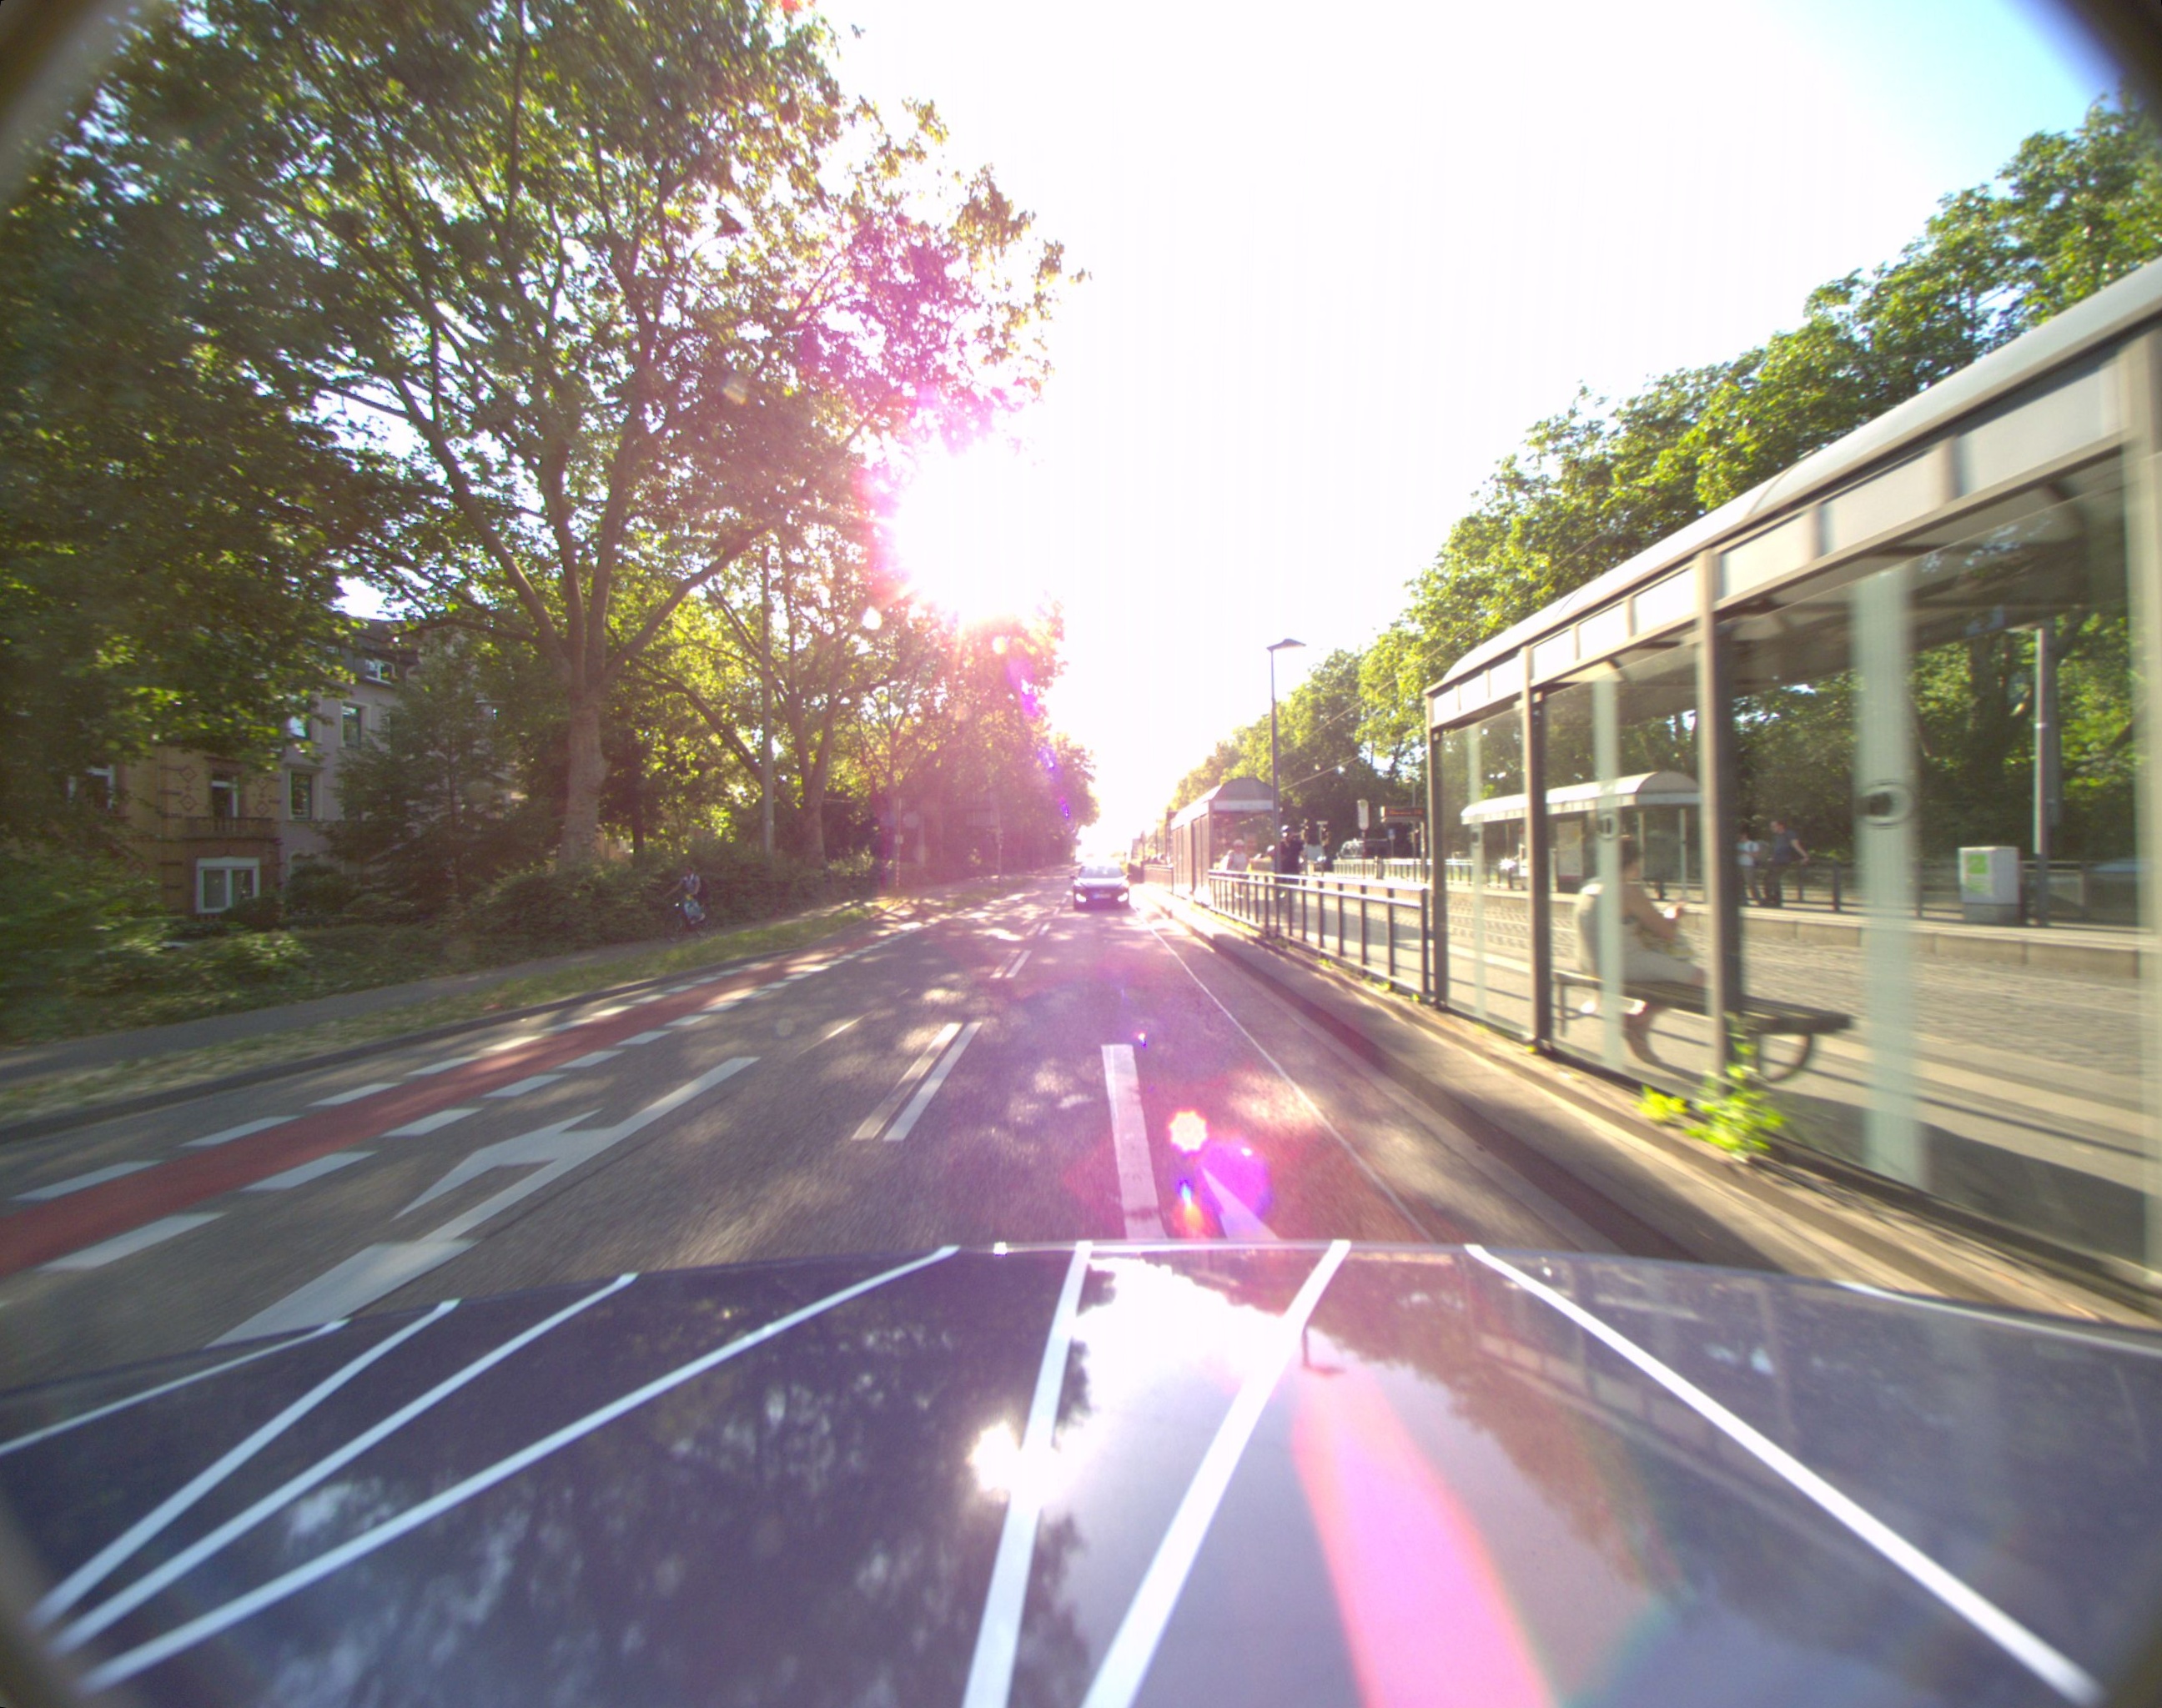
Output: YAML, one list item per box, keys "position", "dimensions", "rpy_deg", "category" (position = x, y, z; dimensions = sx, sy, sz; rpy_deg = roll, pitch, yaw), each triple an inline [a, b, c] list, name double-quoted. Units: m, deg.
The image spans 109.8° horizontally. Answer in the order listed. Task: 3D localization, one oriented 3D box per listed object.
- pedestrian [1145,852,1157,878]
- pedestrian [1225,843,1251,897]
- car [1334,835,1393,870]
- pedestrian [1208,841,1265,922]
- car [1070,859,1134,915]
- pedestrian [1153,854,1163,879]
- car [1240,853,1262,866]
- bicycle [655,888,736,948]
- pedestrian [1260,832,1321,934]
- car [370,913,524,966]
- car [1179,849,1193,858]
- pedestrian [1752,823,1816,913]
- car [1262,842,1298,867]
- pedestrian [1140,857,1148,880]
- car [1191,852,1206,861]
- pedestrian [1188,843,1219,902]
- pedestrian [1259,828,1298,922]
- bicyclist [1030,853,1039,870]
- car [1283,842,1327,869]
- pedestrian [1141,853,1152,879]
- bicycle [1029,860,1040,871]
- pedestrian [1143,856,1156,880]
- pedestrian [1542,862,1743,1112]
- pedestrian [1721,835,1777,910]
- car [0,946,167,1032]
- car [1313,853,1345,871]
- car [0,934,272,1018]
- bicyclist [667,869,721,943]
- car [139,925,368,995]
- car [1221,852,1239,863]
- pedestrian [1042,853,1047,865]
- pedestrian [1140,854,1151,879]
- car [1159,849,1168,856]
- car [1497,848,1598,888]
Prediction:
- position: [4.287, 0.689, 46.721]
  dimensions: [0.520, 1.559, 0.509]
  rpy_deg: [1, 1, 31]
  category: "pedestrian"
- position: [4.683, 0.466, 22.629]
  dimensions: [0.589, 1.558, 0.650]
  rpy_deg: [-3, 1, 1]
  category: "pedestrian"
- position: [21.451, -0.122, 57.953]
  dimensions: [2.189, 2.506, 6.031]
  rpy_deg: [0, 1, -1]
  category: "car"
- position: [3.274, 0.574, 15.976]
  dimensions: [0.800, 1.624, 0.868]
  rpy_deg: [-3, 0, 39]
  category: "pedestrian"
- position: [0.637, 0.972, 23.986]
  dimensions: [1.799, 1.501, 4.000]
  rpy_deg: [-2, 0, 1]
  category: "car"
- position: [4.674, 0.760, 45.982]
  dimensions: [0.521, 1.464, 0.514]
  rpy_deg: [1, 1, 2]
  category: "pedestrian"
- position: [21.038, 0.711, 94.222]
  dimensions: [1.743, 1.546, 3.881]
  rpy_deg: [0, 1, -1]
  category: "car"
- position: [-8.125, 1.317, 16.108]
  dimensions: [0.768, 1.101, 1.800]
  rpy_deg: [-1, 0, 1]
  category: "bicycle"
- position: [3.680, 0.487, 13.333]
  dimensions: [0.654, 1.712, 0.708]
  rpy_deg: [-3, 1, -35]
  category: "pedestrian"
- position: [-22.460, 2.993, 27.137]
  dimensions: [4.007, 1.501, 1.796]
  rpy_deg: [0, -1, -31]
  category: "car"
- position: [20.724, -0.102, 149.790]
  dimensions: [1.832, 1.709, 4.392]
  rpy_deg: [0, 1, -5]
  category: "car"
- position: [14.164, 0.276, 15.325]
  dimensions: [0.649, 1.762, 0.650]
  rpy_deg: [-2, 1, 3]
  category: "pedestrian"
- position: [21.131, 0.023, 81.052]
  dimensions: [2.189, 2.506, 6.049]
  rpy_deg: [0, 1, -1]
  category: "car"
- position: [3.733, 0.868, 45.182]
  dimensions: [0.417, 1.313, 0.359]
  rpy_deg: [1, 1, 1]
  category: "pedestrian"
- position: [20.257, 0.477, 131.199]
  dimensions: [1.832, 1.496, 4.393]
  rpy_deg: [0, 1, -1]
  category: "car"
- position: [3.629, 0.545, 22.626]
  dimensions: [0.744, 1.684, 0.791]
  rpy_deg: [-3, 1, 1]
  category: "pedestrian"
- position: [3.994, 0.412, 15.417]
  dimensions: [0.652, 1.831, 0.711]
  rpy_deg: [-3, 1, 11]
  category: "pedestrian"
- position: [-4.790, 0.736, 78.237]
  dimensions: [0.700, 1.718, 1.081]
  rpy_deg: [-1, 0, 9]
  category: "bicyclist"
- position: [21.457, 0.113, 73.034]
  dimensions: [2.189, 2.506, 6.269]
  rpy_deg: [0, 1, -2]
  category: "car"
- position: [3.999, 0.706, 46.320]
  dimensions: [0.520, 1.559, 0.509]
  rpy_deg: [1, 1, 31]
  category: "pedestrian"
- position: [-4.780, 1.147, 78.240]
  dimensions: [0.700, 1.101, 1.931]
  rpy_deg: [-1, 0, 9]
  category: "bicycle"
- position: [4.013, 0.827, 44.620]
  dimensions: [0.592, 1.398, 0.558]
  rpy_deg: [1, 1, -19]
  category: "pedestrian"
- position: [3.164, 0.716, 4.334]
  dimensions: [0.680, 1.301, 0.593]
  rpy_deg: [-2, 1, 2]
  category: "pedestrian"
- position: [14.165, 0.379, 16.124]
  dimensions: [0.594, 1.535, 0.627]
  rpy_deg: [-2, 1, 1]
  category: "pedestrian"
- position: [-21.949, 2.789, 15.468]
  dimensions: [3.932, 1.443, 1.685]
  rpy_deg: [0, -1, -33]
  category: "car"
- position: [21.602, 0.665, 66.332]
  dimensions: [1.656, 1.504, 3.265]
  rpy_deg: [0, 1, -2]
  category: "car"
- position: [-22.676, 2.856, 18.314]
  dimensions: [4.007, 1.501, 1.796]
  rpy_deg: [0, -1, -31]
  category: "car"
- position: [-8.124, 1.076, 15.977]
  dimensions: [0.768, 1.504, 0.650]
  rpy_deg: [-1, 0, 0]
  category: "bicyclist"
- position: [-22.965, 2.890, 21.343]
  dimensions: [4.007, 1.501, 1.796]
  rpy_deg: [0, -1, -31]
  category: "car"
- position: [20.934, 0.513, 106.741]
  dimensions: [1.743, 1.428, 3.851]
  rpy_deg: [0, 1, -1]
  category: "car"
- position: [-5.306, 0.710, 109.683]
  dimensions: [0.649, 1.626, 0.928]
  rpy_deg: [1, 1, 2]
  category: "pedestrian"
- position: [3.864, 0.747, 45.707]
  dimensions: [0.591, 1.511, 0.514]
  rpy_deg: [1, 1, 1]
  category: "pedestrian"
- position: [21.020, -0.388, 193.910]
  dimensions: [1.734, 1.730, 3.899]
  rpy_deg: [0, 1, -1]
  category: "car"
- position: [20.498, 0.548, 33.621]
  dimensions: [1.908, 1.642, 3.971]
  rpy_deg: [0, 1, -2]
  category: "car"
